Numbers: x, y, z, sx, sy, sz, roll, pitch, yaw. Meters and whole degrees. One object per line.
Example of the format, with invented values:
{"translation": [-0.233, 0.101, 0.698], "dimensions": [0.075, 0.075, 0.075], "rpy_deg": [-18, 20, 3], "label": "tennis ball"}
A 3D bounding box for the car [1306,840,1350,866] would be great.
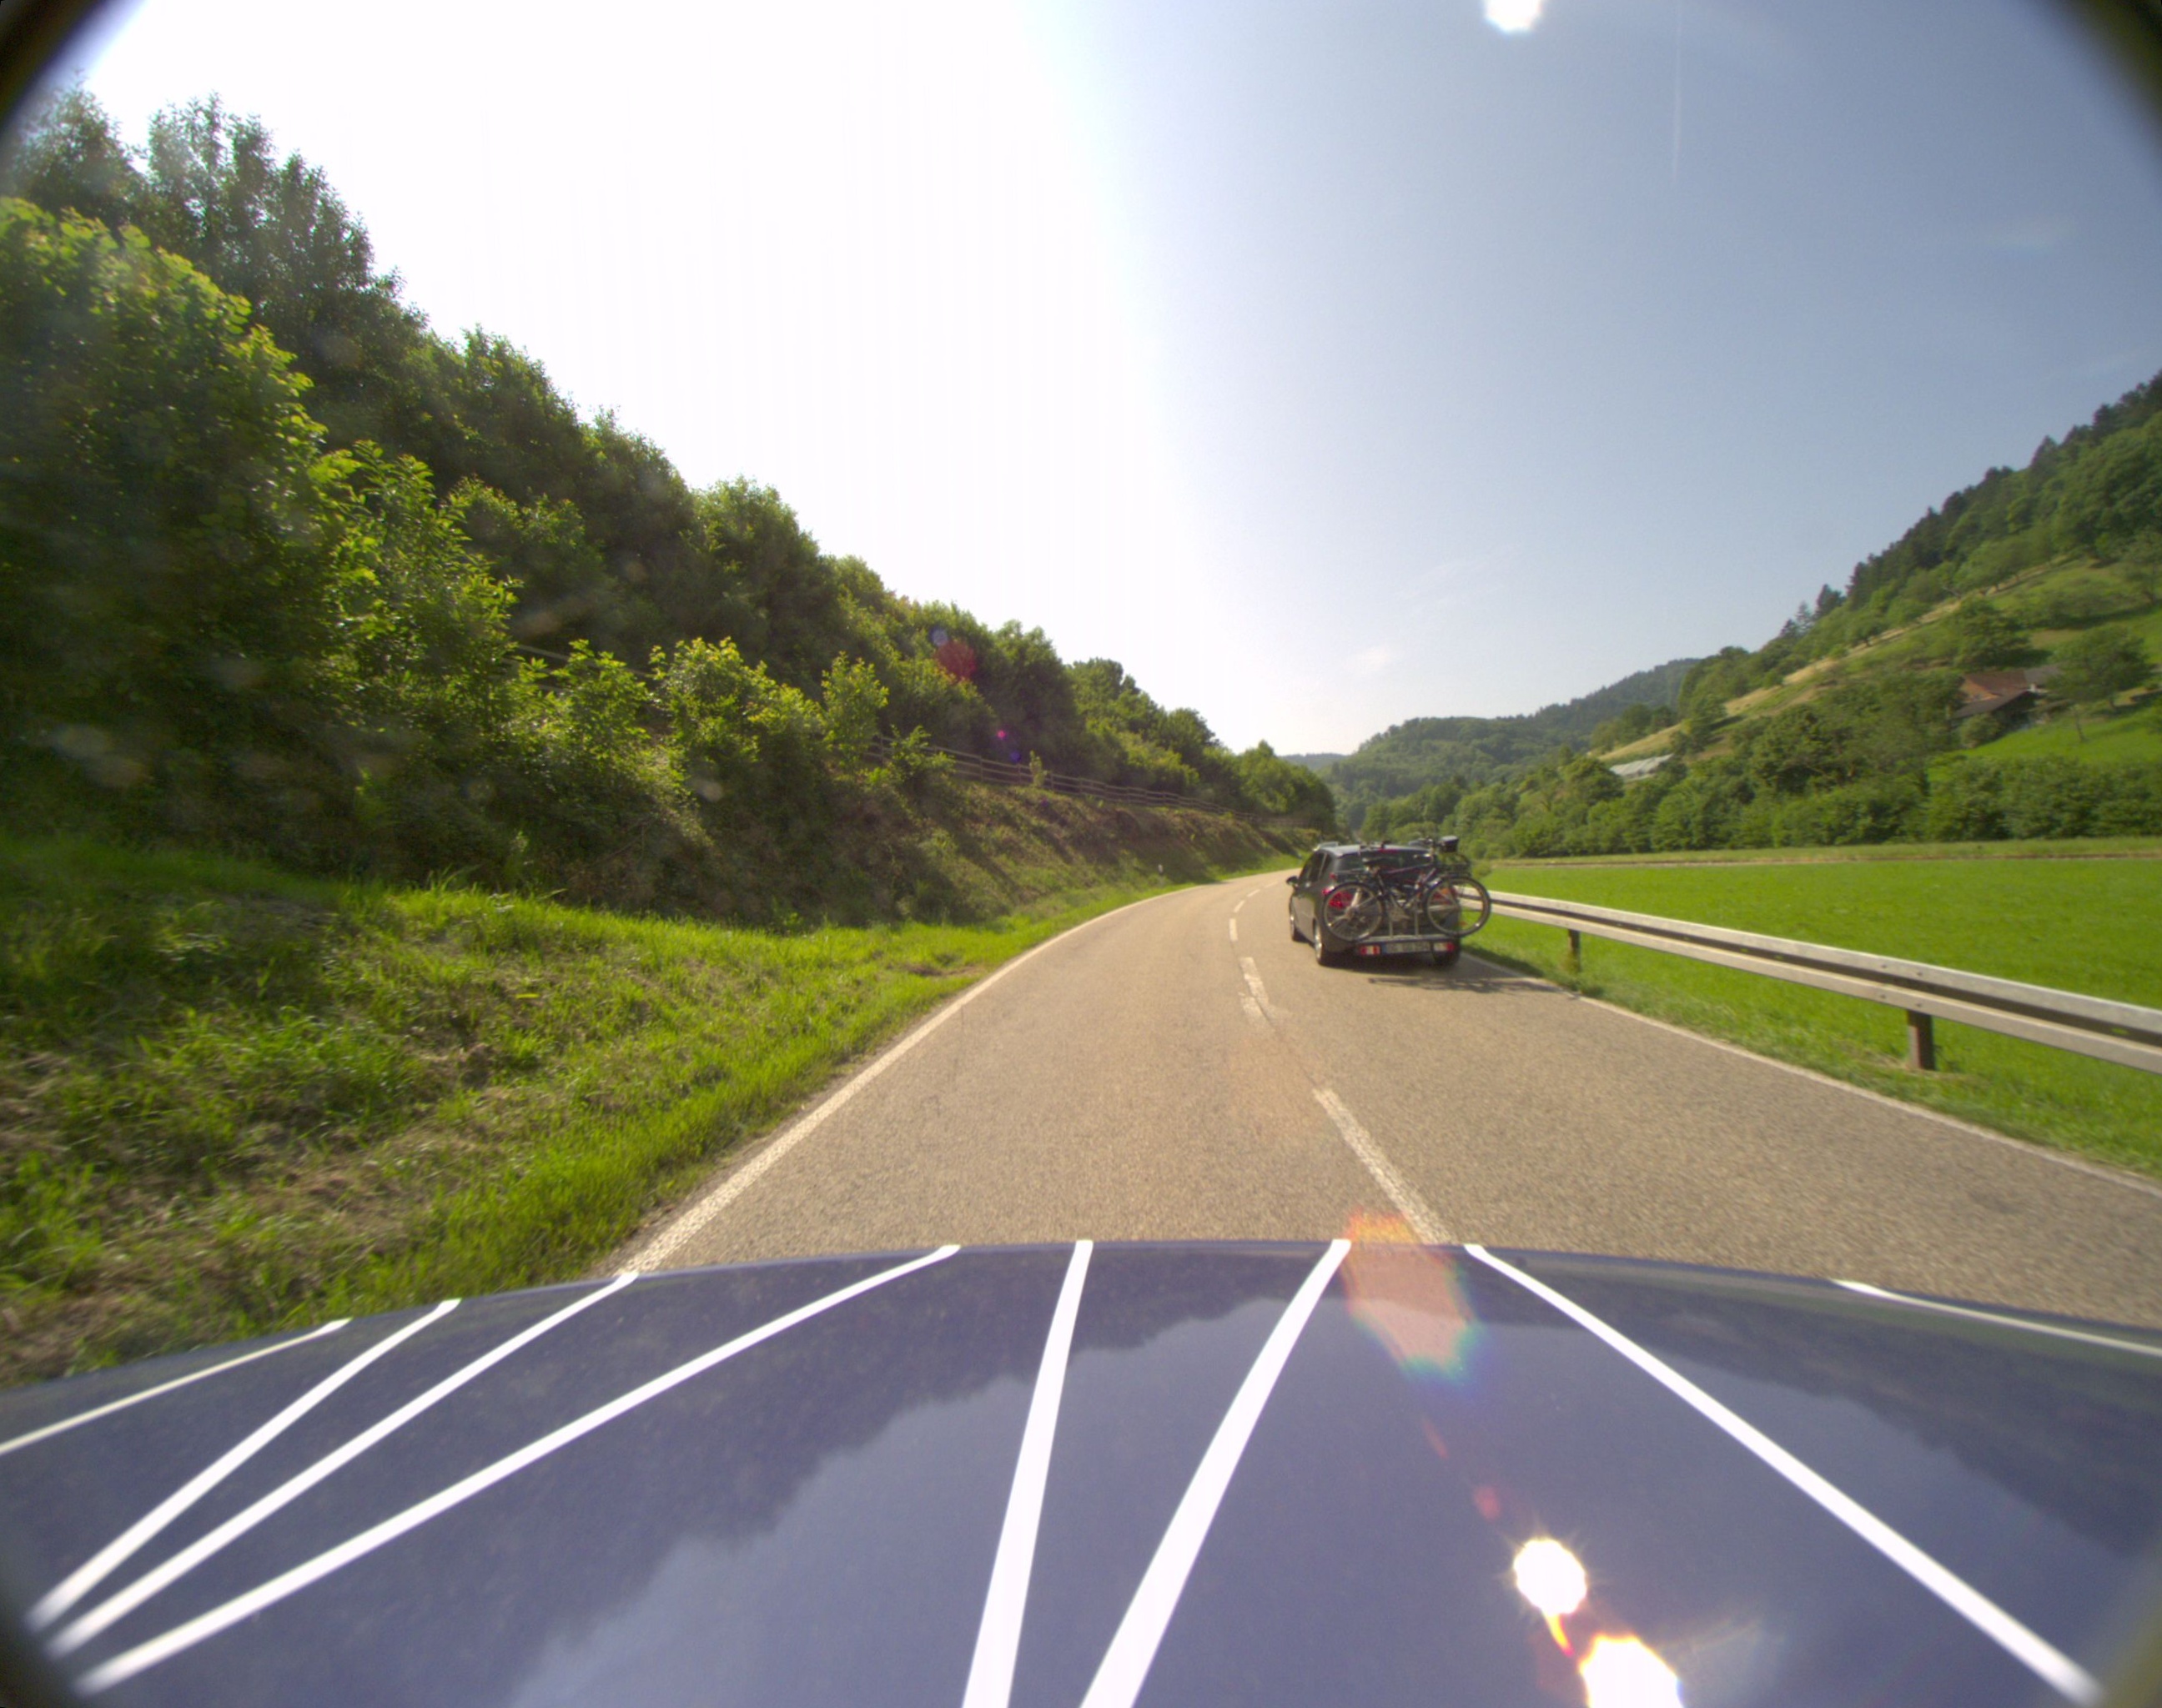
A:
{"translation": [19.453, -0.121, 59.668], "dimensions": [2.114, 1.803, 4.463], "rpy_deg": [-5, -1, 32], "label": "car"}

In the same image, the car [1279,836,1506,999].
{"translation": [3.980, 0.686, 10.643], "dimensions": [1.953, 1.730, 4.900], "rpy_deg": [-1, 0, 10], "label": "car"}

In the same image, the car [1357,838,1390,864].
{"translation": [21.525, -0.246, 55.813], "dimensions": [1.709, 1.665, 4.007], "rpy_deg": [-4, -1, 27], "label": "car"}

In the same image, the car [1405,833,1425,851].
{"translation": [38.816, -1.422, 88.212], "dimensions": [1.995, 2.002, 4.006], "rpy_deg": [-2, 1, 25], "label": "car"}
